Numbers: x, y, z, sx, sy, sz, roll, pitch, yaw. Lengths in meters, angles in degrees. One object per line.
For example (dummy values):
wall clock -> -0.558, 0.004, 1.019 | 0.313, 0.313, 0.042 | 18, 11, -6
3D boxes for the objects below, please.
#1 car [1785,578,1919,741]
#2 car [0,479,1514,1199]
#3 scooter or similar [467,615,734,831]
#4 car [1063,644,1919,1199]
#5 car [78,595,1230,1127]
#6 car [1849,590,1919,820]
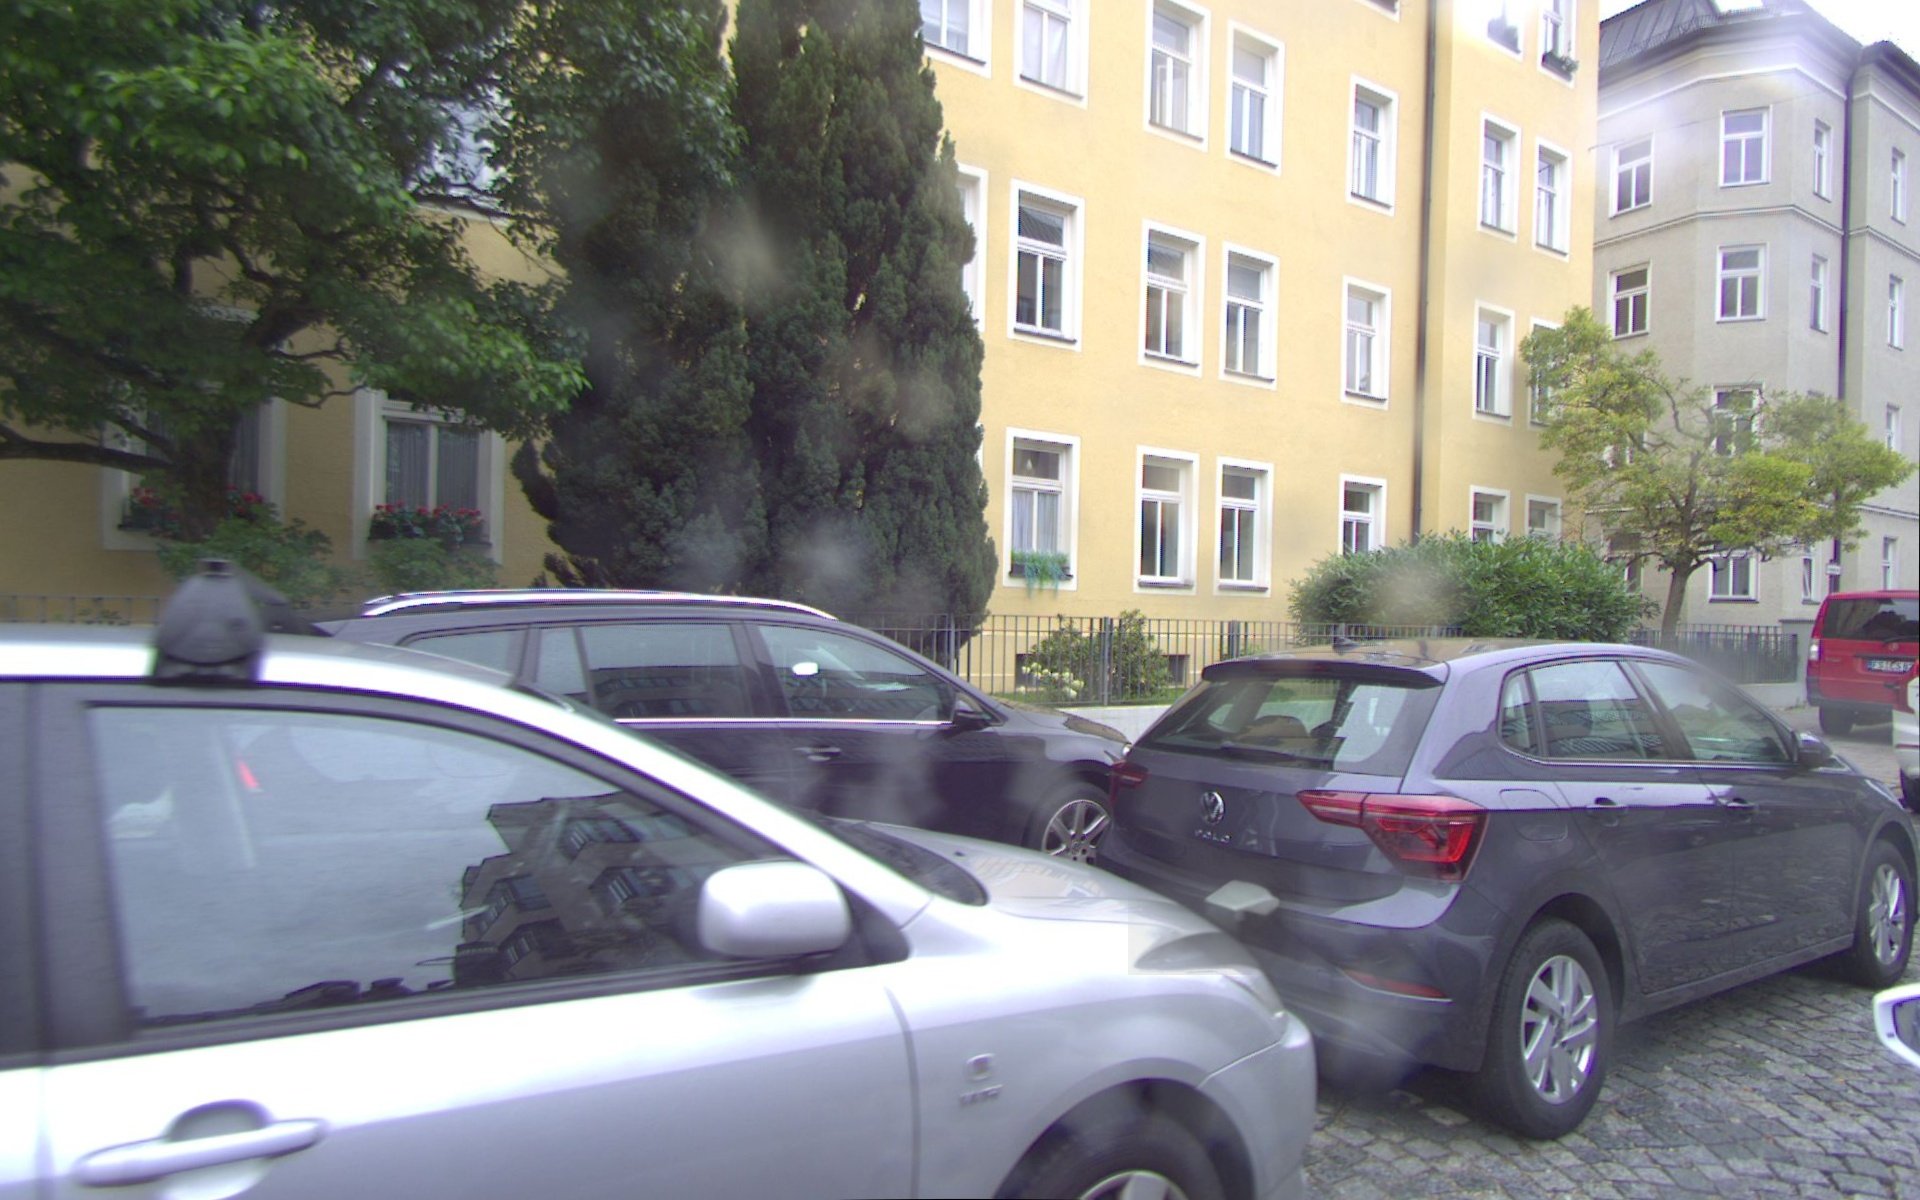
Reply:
car -> 13.631, 0.768, 13.761 | 5.271, 1.957, 1.983 | 1, 1, -32
car -> -1.093, 0.710, 1.784 | 4.340, 1.582, 1.705 | 1, -2, -31
scooter or similar -> -2.390, 0.740, 6.654 | 1.504, 1.216, 0.951 | 1, 2, -30
car -> 2.510, 0.908, 4.273 | 3.891, 1.437, 1.721 | 1, -3, -31
car -> -1.014, 0.820, 4.899 | 4.667, 1.517, 1.706 | 1, 2, -31
car -> 10.123, 0.872, 8.786 | 5.113, 1.832, 1.997 | 1, -2, -30
